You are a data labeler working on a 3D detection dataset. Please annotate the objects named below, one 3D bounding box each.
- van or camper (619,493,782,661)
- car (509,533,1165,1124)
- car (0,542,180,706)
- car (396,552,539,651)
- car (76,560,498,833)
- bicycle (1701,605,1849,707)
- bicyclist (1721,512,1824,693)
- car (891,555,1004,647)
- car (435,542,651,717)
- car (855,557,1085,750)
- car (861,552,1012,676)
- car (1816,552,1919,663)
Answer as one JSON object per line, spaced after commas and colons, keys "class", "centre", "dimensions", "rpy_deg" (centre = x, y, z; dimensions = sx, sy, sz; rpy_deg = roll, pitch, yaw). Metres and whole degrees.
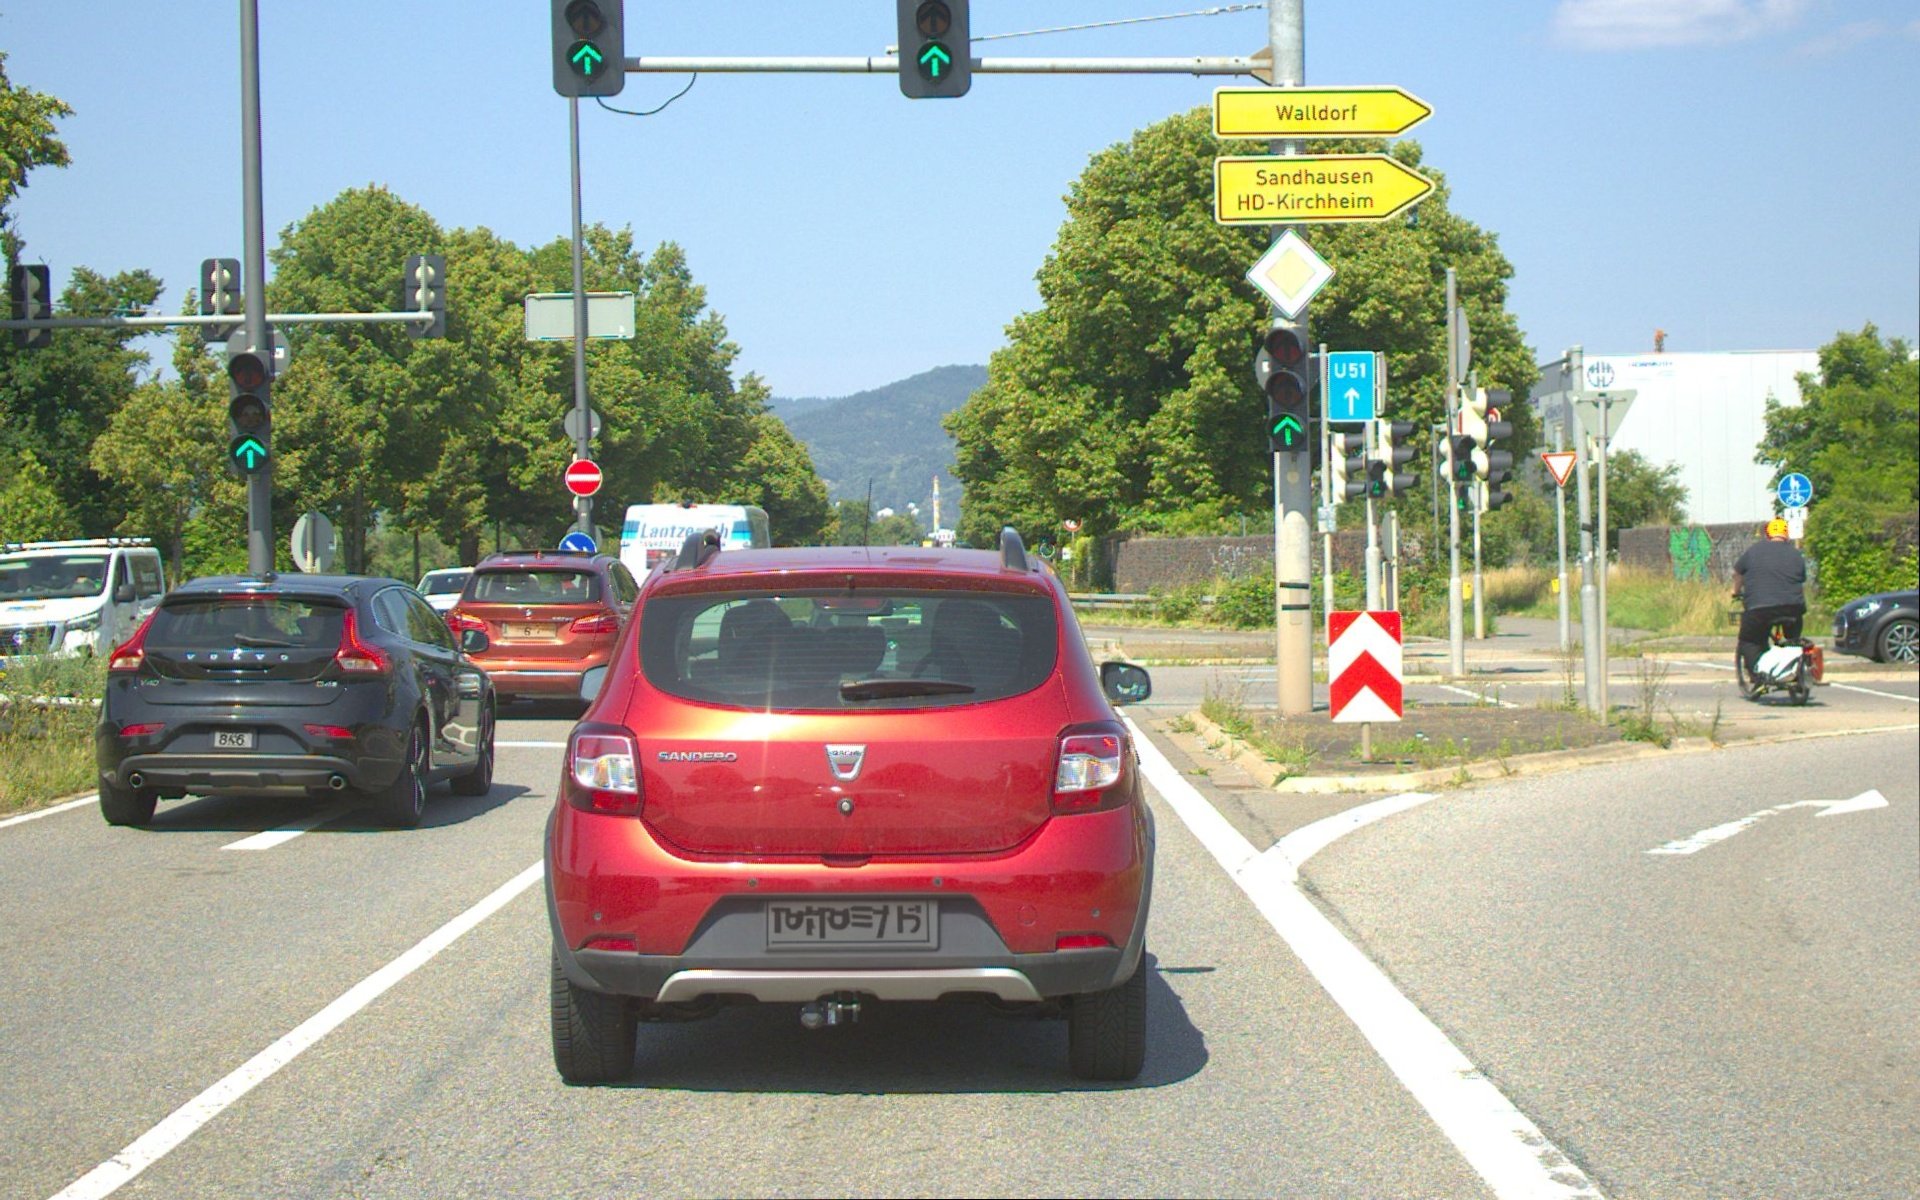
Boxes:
{"class": "van or camper", "centre": [-3.679, -0.352, 49.514], "dimensions": [2.179, 2.295, 4.827], "rpy_deg": [0, 1, -2]}
{"class": "car", "centre": [-0.282, 0.586, 10.997], "dimensions": [1.749, 1.570, 3.676], "rpy_deg": [0, 1, 2]}
{"class": "car", "centre": [-11.607, 0.263, 44.432], "dimensions": [1.993, 1.974, 5.016], "rpy_deg": [-1, 1, -1]}
{"class": "car", "centre": [-8.768, 0.000, 61.480], "dimensions": [1.993, 1.664, 4.000], "rpy_deg": [-1, 1, -1]}
{"class": "car", "centre": [-3.877, 0.496, 20.420], "dimensions": [1.702, 1.437, 3.955], "rpy_deg": [0, 1, 1]}
{"class": "bicycle", "centre": [8.115, 0.537, 34.352], "dimensions": [0.761, 0.911, 2.780], "rpy_deg": [-1, 1, -1]}
{"class": "bicyclist", "centre": [8.091, 0.015, 34.257], "dimensions": [0.802, 1.765, 0.809], "rpy_deg": [-1, 1, -1]}
{"class": "car", "centre": [-0.168, -0.005, 56.584], "dimensions": [1.749, 1.453, 3.676], "rpy_deg": [0, 1, 2]}
{"class": "car", "centre": [-4.018, 0.240, 33.646], "dimensions": [1.724, 1.594, 3.956], "rpy_deg": [0, 1, -1]}
{"class": "car", "centre": [0.126, 0.386, 28.032], "dimensions": [1.749, 1.453, 3.676], "rpy_deg": [0, 1, 2]}
{"class": "car", "centre": [-0.248, 0.144, 42.570], "dimensions": [1.749, 1.453, 3.676], "rpy_deg": [0, 1, 2]}
{"class": "car", "centre": [12.750, 0.058, 42.746], "dimensions": [3.989, 1.322, 1.805], "rpy_deg": [-1, 1, 11]}
